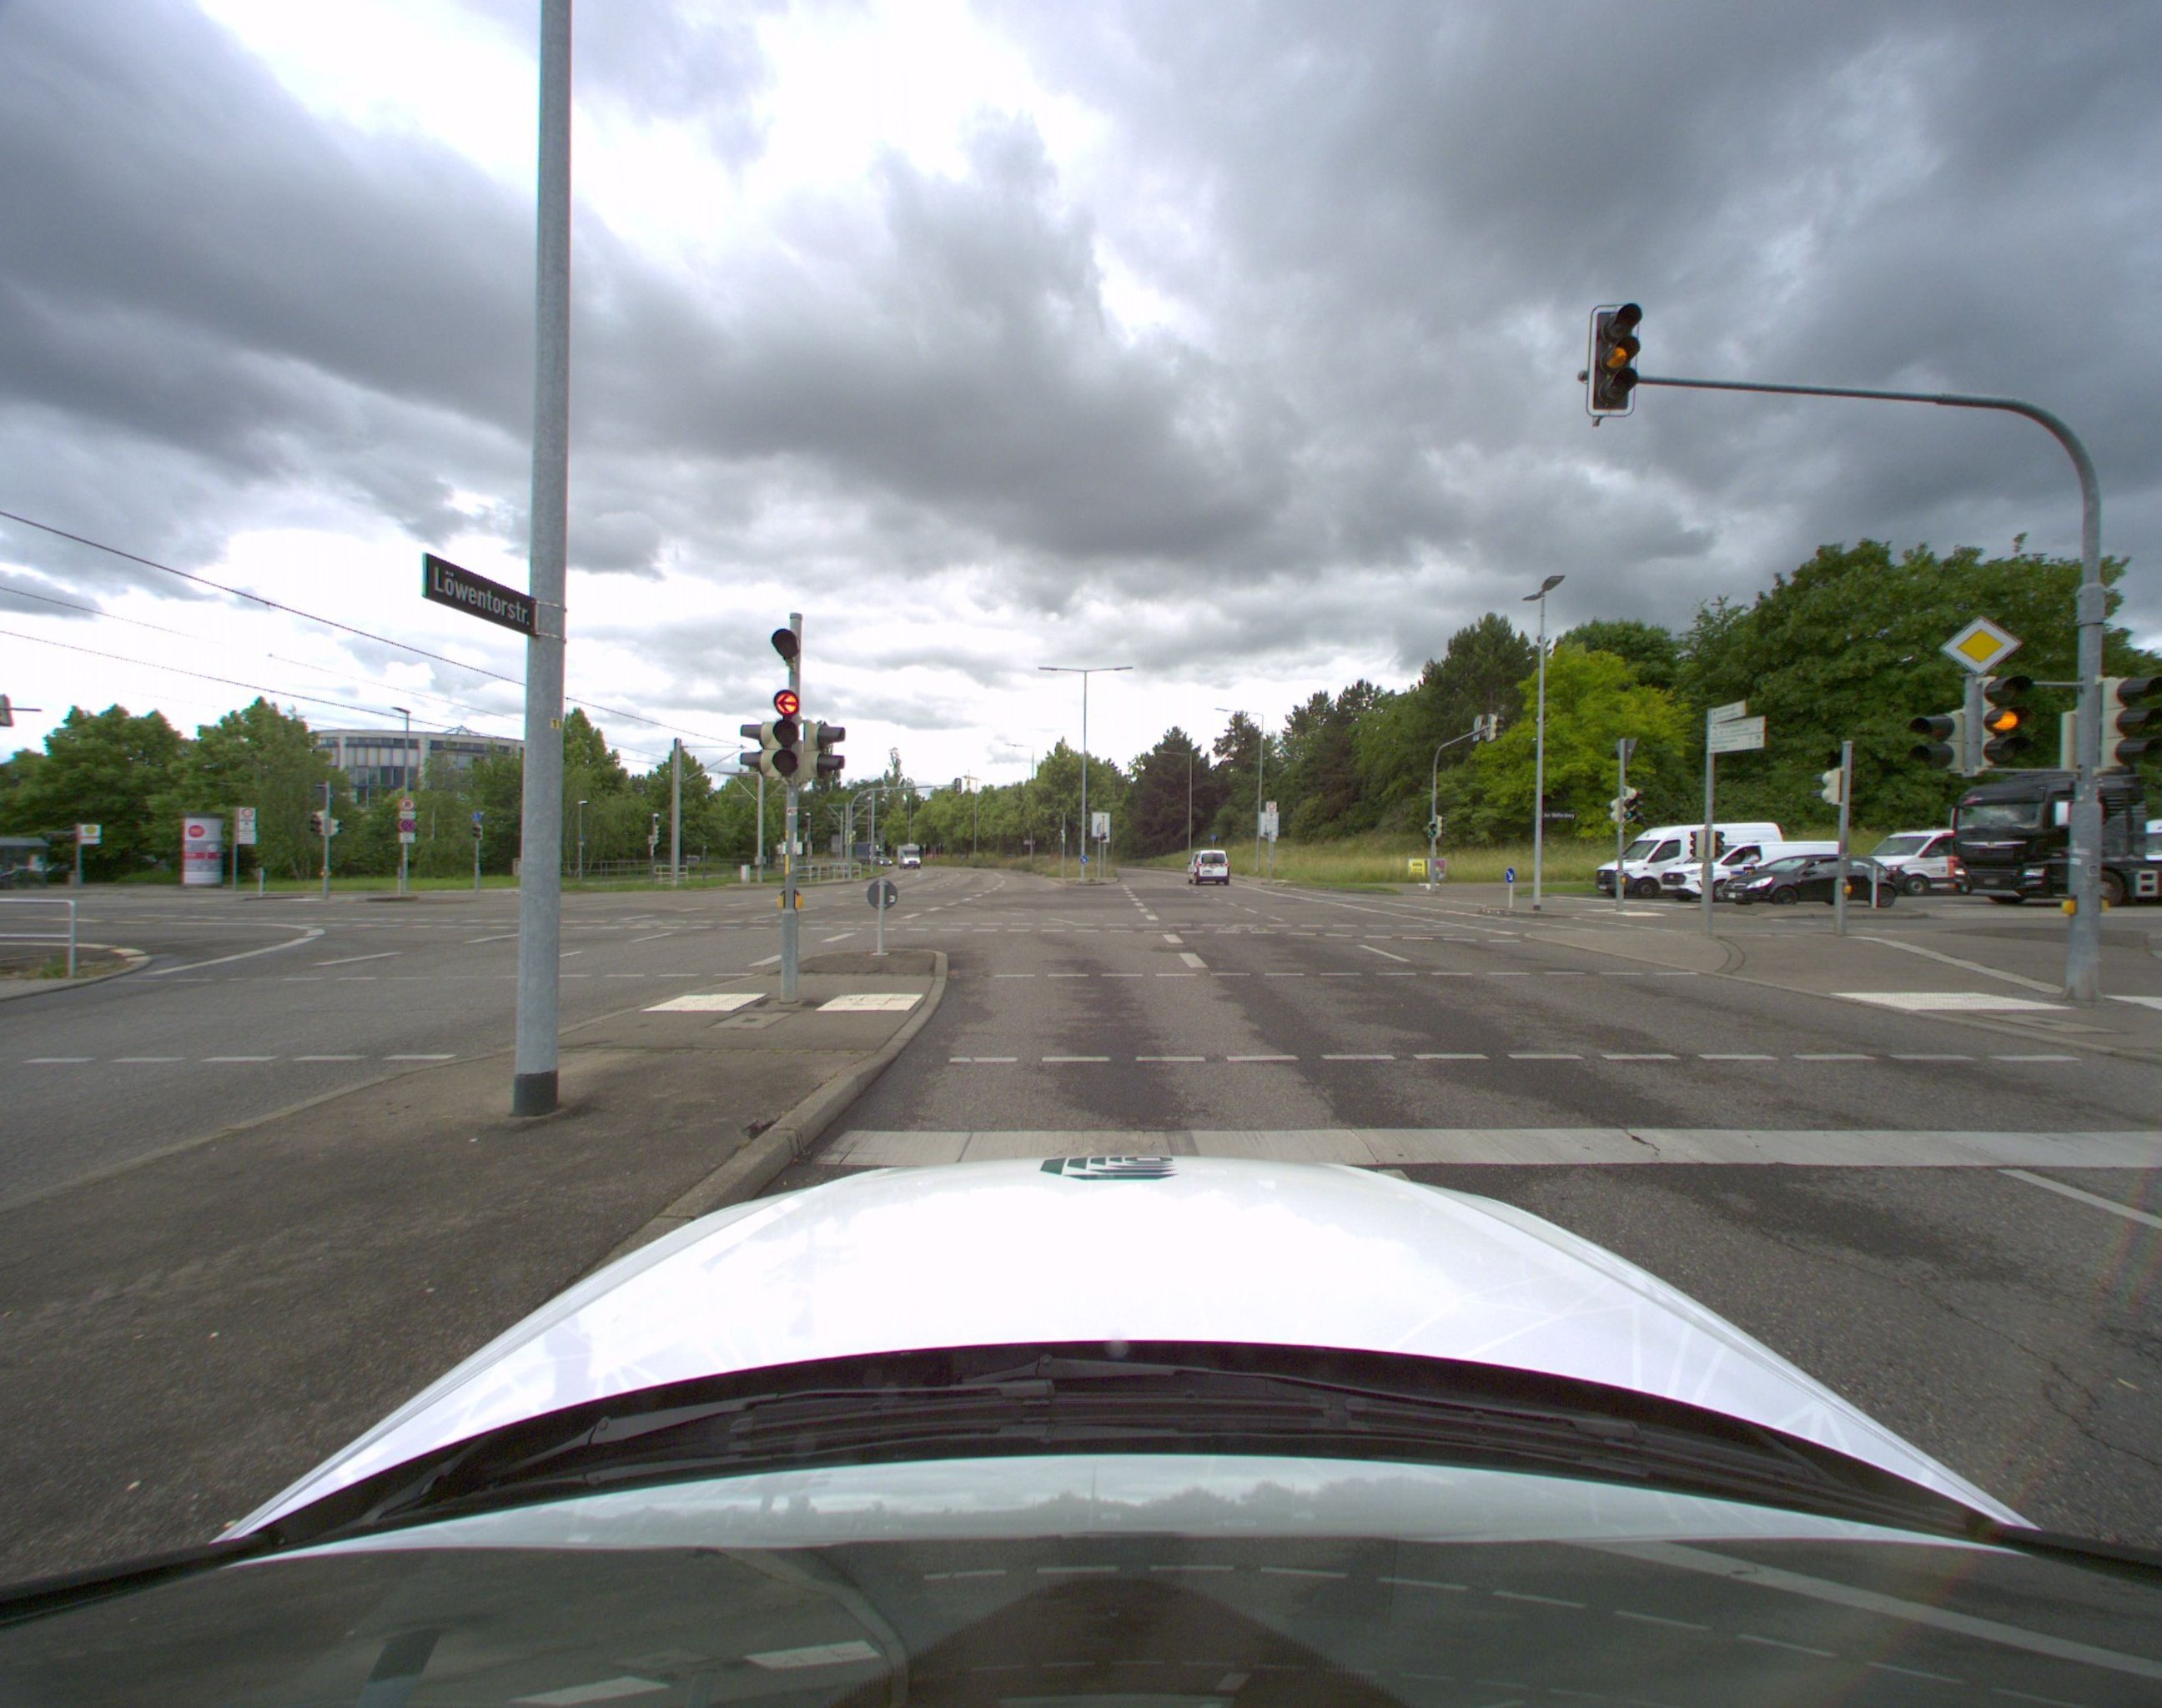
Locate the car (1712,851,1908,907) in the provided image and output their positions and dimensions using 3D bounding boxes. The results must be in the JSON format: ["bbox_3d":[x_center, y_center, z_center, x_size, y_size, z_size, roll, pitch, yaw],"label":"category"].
[{"bbox_3d":[20.276,0.671,22.777,3.905,1.436,1.732,-1,0,1],"label":"car"}]

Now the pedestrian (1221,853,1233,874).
[{"bbox_3d":[11.275,0.731,63.007,0.811,1.627,0.791,0,0,1],"label":"pedestrian"}]

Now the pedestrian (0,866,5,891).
[{"bbox_3d":[-57.829,1.296,43.185,0.774,1.303,0.666,0,0,15],"label":"pedestrian"}]

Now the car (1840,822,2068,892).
[{"bbox_3d":[30.679,0.111,28.768,5.677,2.289,2.136,-1,0,2],"label":"car"}]

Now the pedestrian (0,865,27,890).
[{"bbox_3d":[-56.386,1.228,42.996,0.774,1.304,0.666,0,0,15],"label":"pedestrian"}]

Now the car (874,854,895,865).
[{"bbox_3d":[-28.940,0.827,120.091,1.792,1.446,4.485,-2,2,-30],"label":"car"}]

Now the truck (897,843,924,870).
[{"bbox_3d":[-20.974,0.320,99.864,2.124,3.135,5.855,0,-1,-23],"label":"truck"}]

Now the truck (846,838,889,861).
[{"bbox_3d":[-36.654,-0.654,139.502,3.071,3.760,12.678,0,-1,-34],"label":"truck"}]

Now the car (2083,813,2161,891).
[{"bbox_3d":[39.720,-0.127,28.493,6.473,2.609,2.197,-1,0,2],"label":"car"}]

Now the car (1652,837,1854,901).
[{"bbox_3d":[21.588,0.459,26.333,4.836,1.896,2.034,-1,0,1],"label":"car"}]

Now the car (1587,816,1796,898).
[{"bbox_3d":[21.894,0.096,29.413,5.870,2.781,2.136,-1,0,2],"label":"car"}]

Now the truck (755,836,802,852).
[{"bbox_3d":[-65.628,-2.145,176.544,11.262,3.328,2.765,0,0,28],"label":"truck"}]

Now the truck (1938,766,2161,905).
[{"bbox_3d":[27.931,-0.513,22.274,6.027,3.538,2.729,-1,0,2],"label":"truck"}]

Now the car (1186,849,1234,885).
[{"bbox_3d":[6.769,0.669,43.127,1.986,1.802,4.842,-1,-1,3],"label":"car"}]
